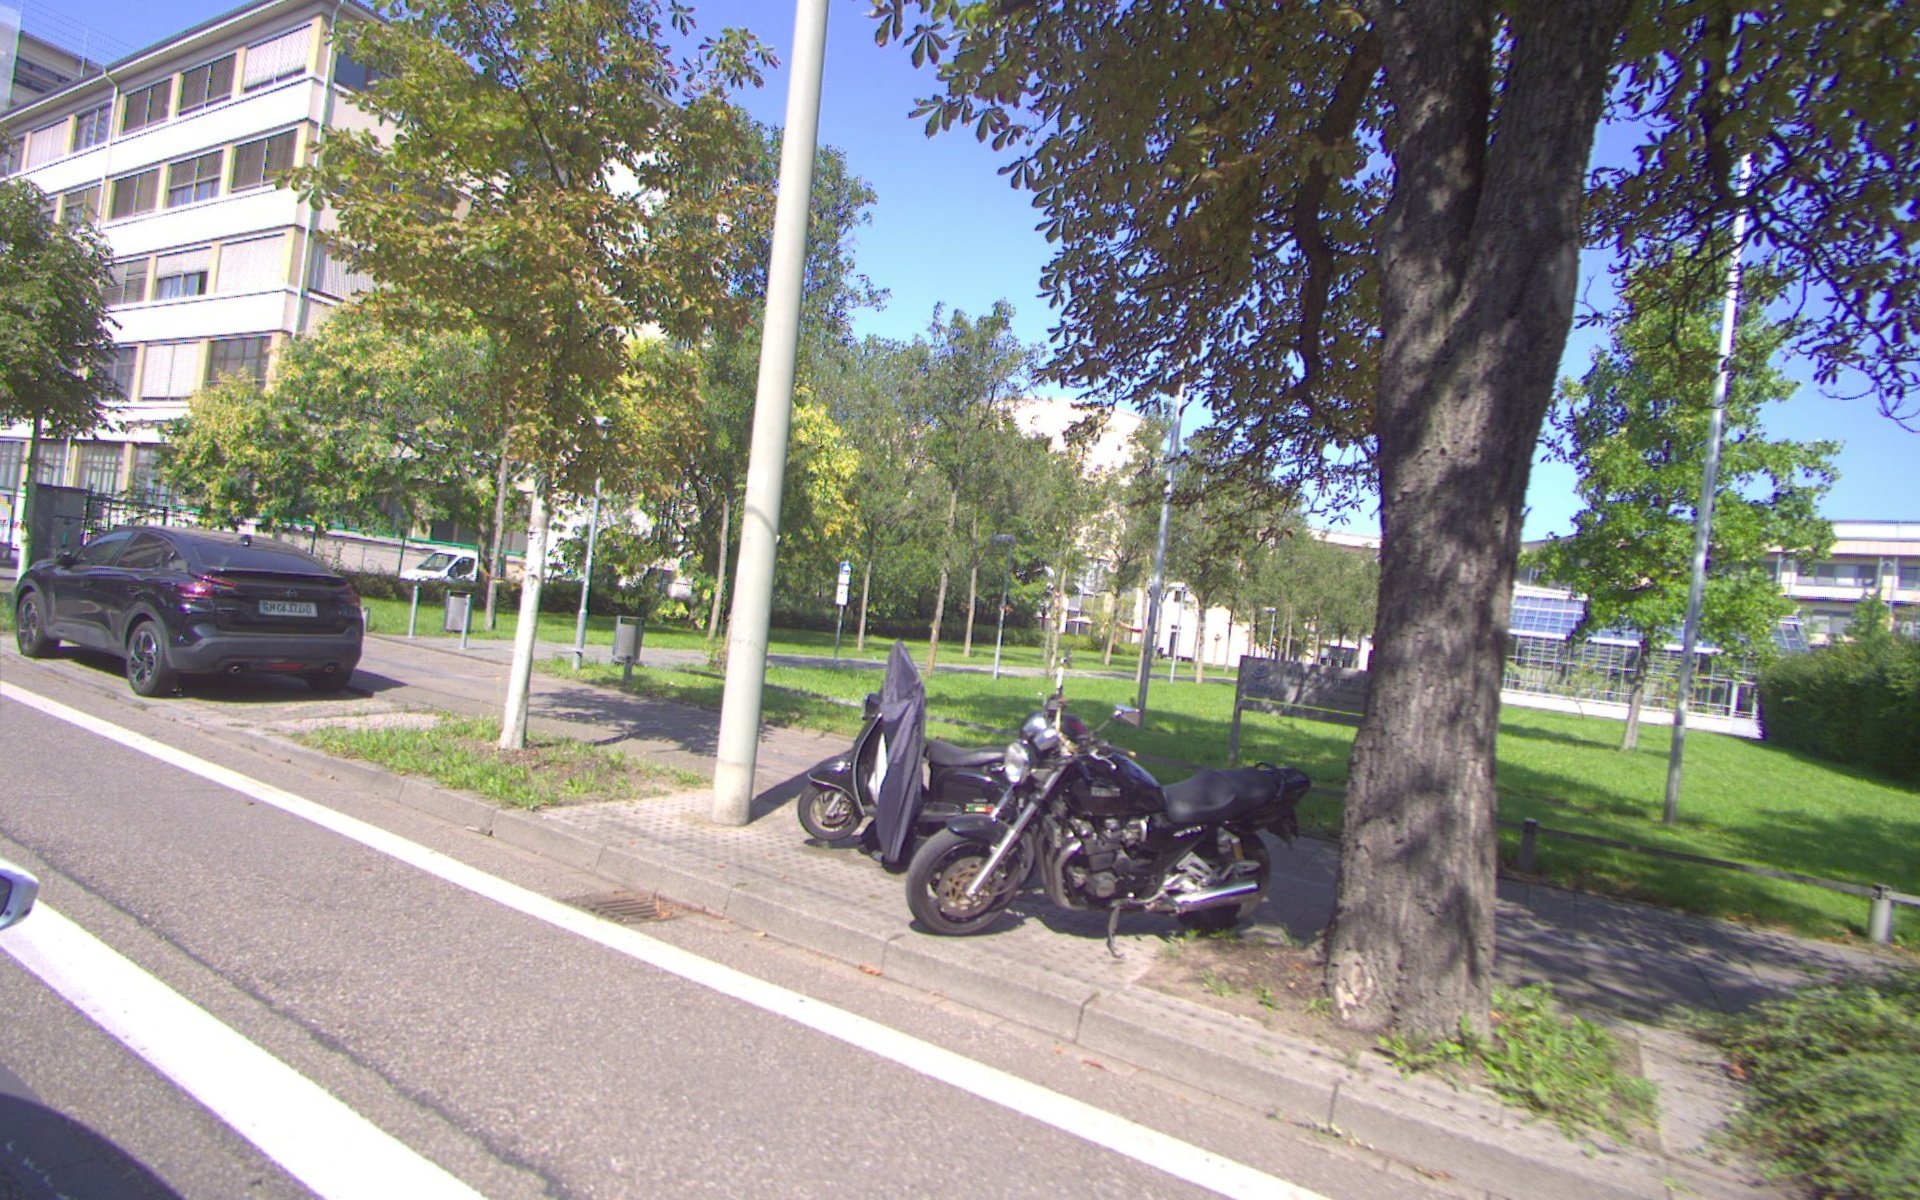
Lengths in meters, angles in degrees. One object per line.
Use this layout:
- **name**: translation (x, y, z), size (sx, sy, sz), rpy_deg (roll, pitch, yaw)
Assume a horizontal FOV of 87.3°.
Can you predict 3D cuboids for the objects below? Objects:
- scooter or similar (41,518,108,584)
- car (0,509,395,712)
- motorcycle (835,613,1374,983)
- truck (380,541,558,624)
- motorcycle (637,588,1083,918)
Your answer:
- **scooter or similar**: translation (-19.358, -1.080, 21.979), size (1.789, 1.274, 0.557), rpy_deg (6, -1, 34)
- **car**: translation (-8.160, 0.052, 10.522), size (4.531, 1.534, 1.759), rpy_deg (6, -1, 30)
- **motorcycle**: translation (0.736, 0.998, 5.045), size (2.422, 1.533, 0.849), rpy_deg (8, -1, -21)
- **truck**: translation (-18.539, -0.596, 38.300), size (2.261, 2.352, 5.517), rpy_deg (6, -2, 32)
- **motorcycle**: translation (-0.549, 0.868, 6.143), size (2.408, 1.533, 0.854), rpy_deg (7, -1, 6)
